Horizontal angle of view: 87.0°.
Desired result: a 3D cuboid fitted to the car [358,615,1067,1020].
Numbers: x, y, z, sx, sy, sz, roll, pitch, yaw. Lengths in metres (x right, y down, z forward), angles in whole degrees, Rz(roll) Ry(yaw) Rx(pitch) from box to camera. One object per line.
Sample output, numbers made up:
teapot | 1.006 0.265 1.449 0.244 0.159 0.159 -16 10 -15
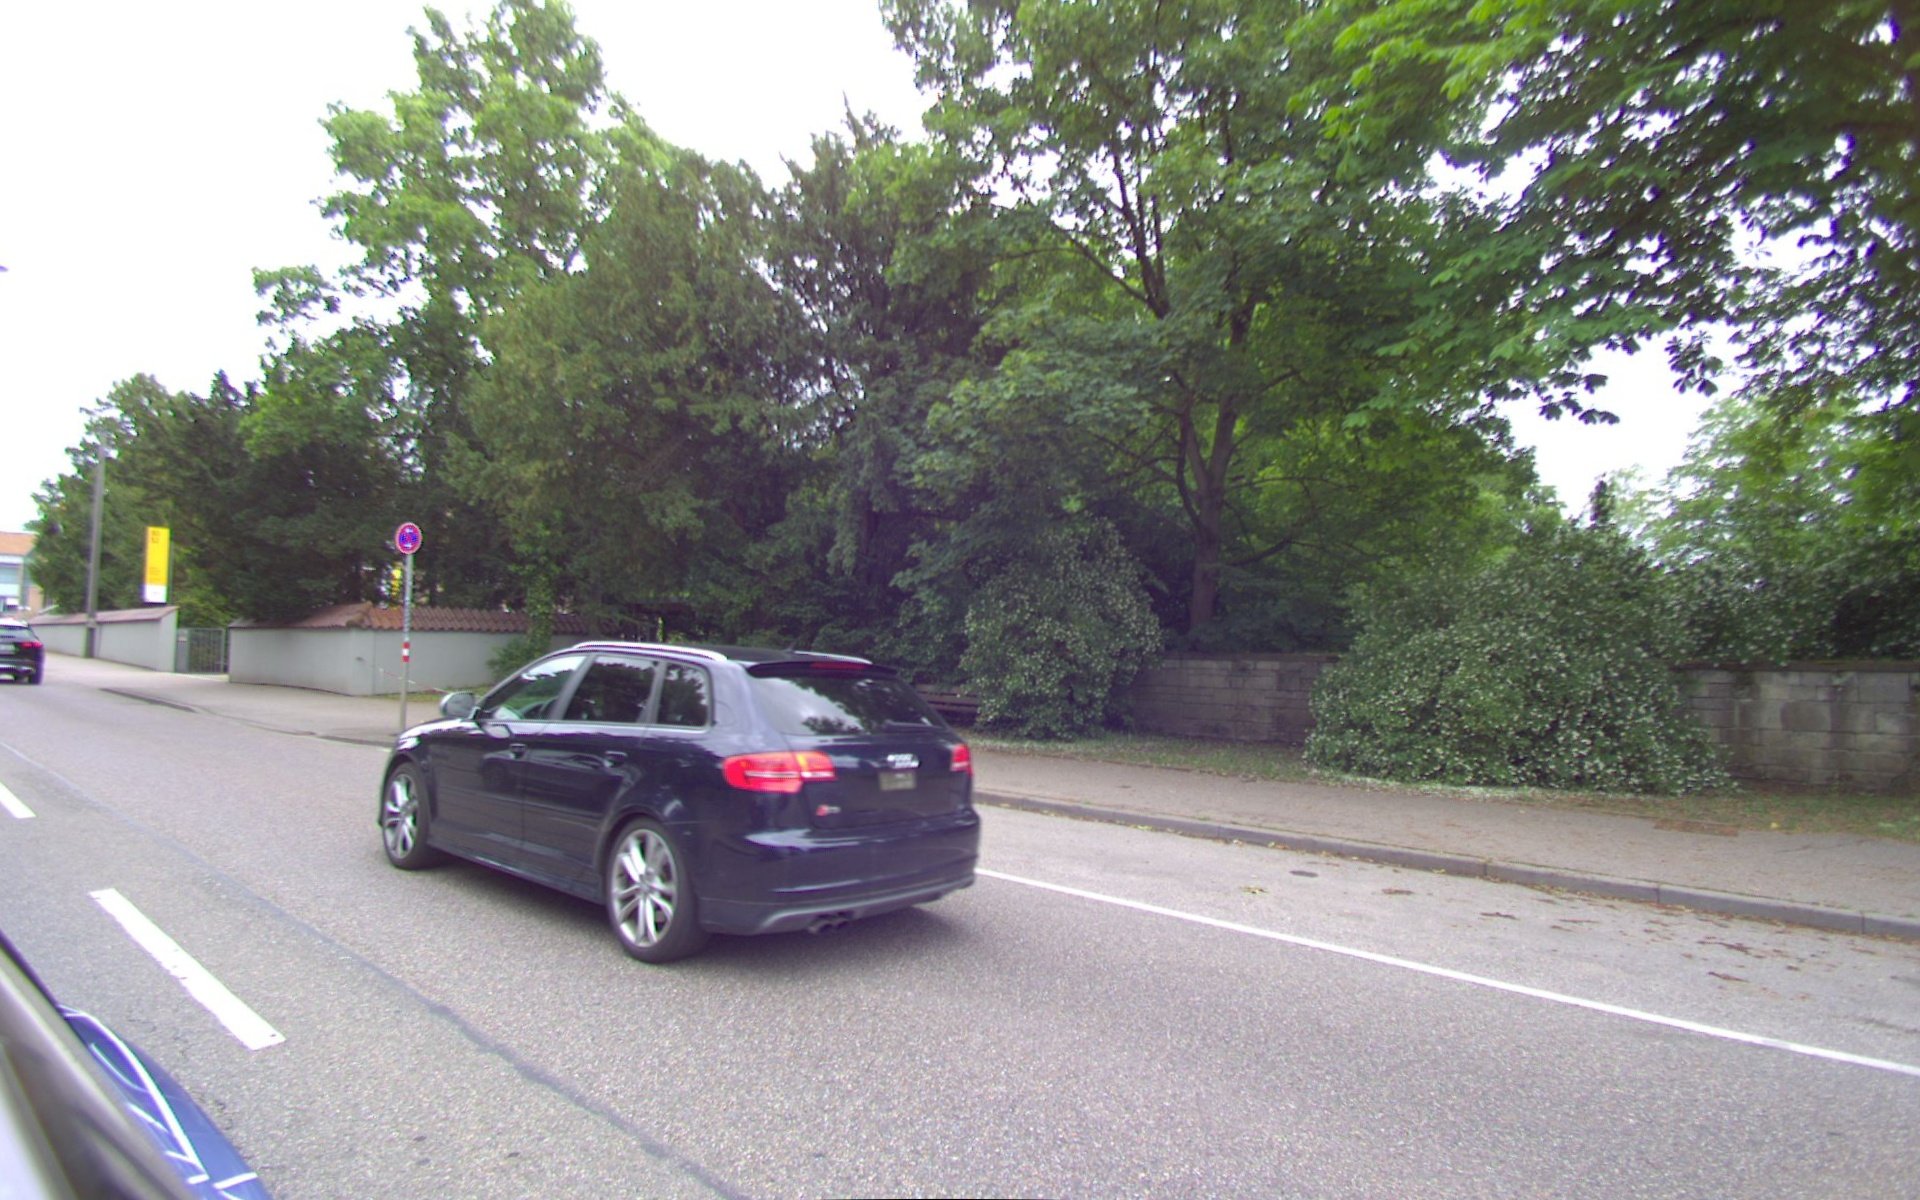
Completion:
car | -1.619 0.893 5.752 4.109 1.464 1.840 -1 -5 41

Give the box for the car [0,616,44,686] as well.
car | -24.871 1.240 25.675 4.304 1.670 1.840 -1 -5 41
